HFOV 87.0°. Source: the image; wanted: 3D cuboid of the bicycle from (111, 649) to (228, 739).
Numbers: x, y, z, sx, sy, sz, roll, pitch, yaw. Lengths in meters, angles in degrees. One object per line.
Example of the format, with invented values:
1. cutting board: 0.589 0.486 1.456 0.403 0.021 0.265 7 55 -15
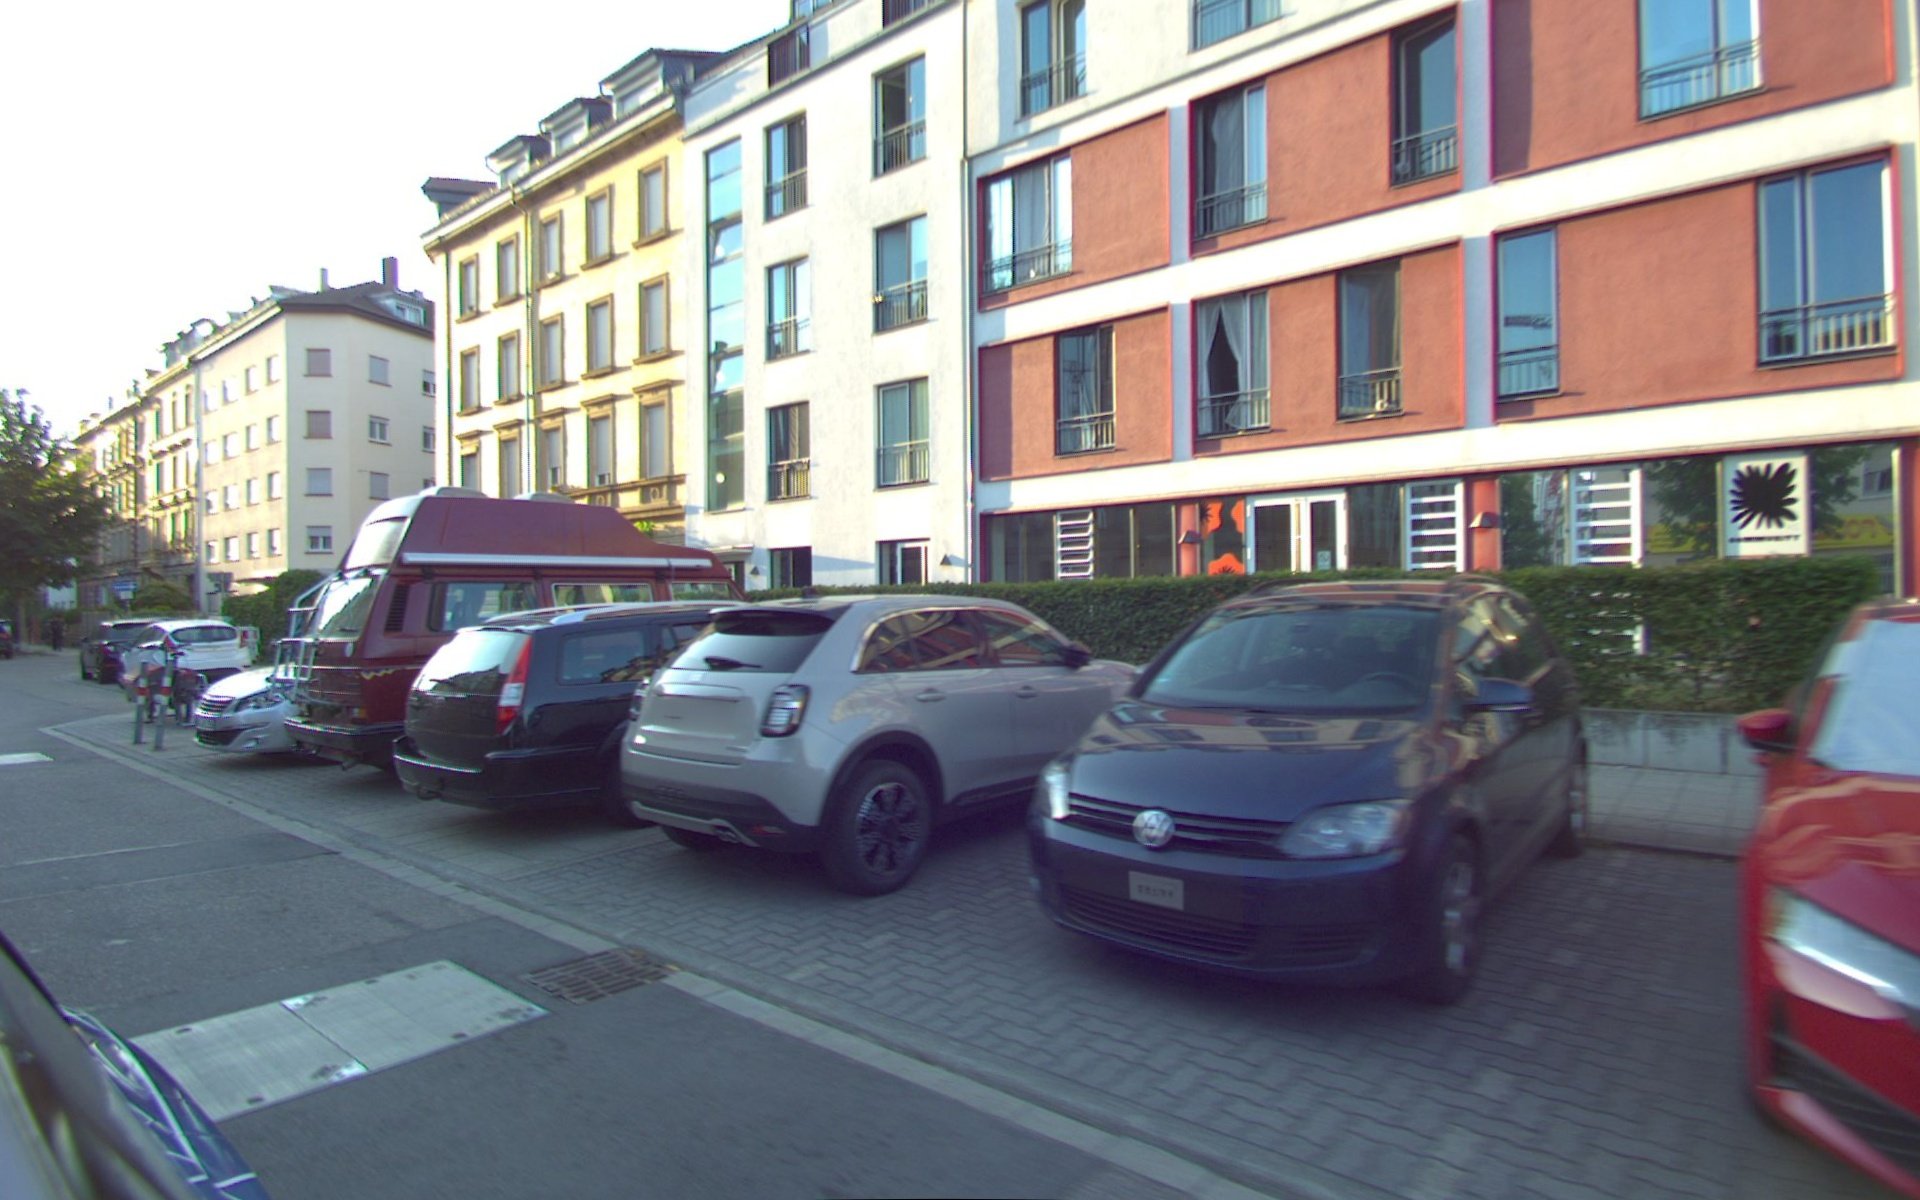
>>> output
1. bicycle: -10.729 1.221 13.698 2.413 1.062 0.795 -1 -1 41

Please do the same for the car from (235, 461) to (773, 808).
1. car: -4.146 0.262 9.802 1.930 2.576 4.357 -1 -1 40

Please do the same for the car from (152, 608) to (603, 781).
1. car: -6.201 0.876 11.232 1.799 1.427 3.946 -1 1 33

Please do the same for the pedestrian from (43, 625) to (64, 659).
1. pedestrian: -41.378 1.913 46.192 0.638 1.545 0.636 -2 -2 42

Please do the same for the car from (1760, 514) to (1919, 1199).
1. car: 3.692 0.571 3.144 1.787 1.505 4.220 -1 -1 40

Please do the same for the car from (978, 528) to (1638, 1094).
1. car: 1.982 0.591 4.931 1.699 1.629 3.846 -1 0 41

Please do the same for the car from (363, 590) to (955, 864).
1. car: -2.058 0.728 8.035 1.704 1.536 4.294 -1 0 39

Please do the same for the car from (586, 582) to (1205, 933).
1. car: -0.147 0.688 6.556 1.754 1.551 3.907 -1 0 41

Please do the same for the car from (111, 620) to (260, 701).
1. car: -16.606 1.231 21.654 3.577 1.522 1.659 -1 1 38

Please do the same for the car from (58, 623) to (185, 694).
1. car: -20.524 1.364 24.730 3.733 1.534 1.578 -1 1 38

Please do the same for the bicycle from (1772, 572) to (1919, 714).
1. bicycle: 9.047 0.403 9.775 0.505 1.323 1.822 0 -1 -25
